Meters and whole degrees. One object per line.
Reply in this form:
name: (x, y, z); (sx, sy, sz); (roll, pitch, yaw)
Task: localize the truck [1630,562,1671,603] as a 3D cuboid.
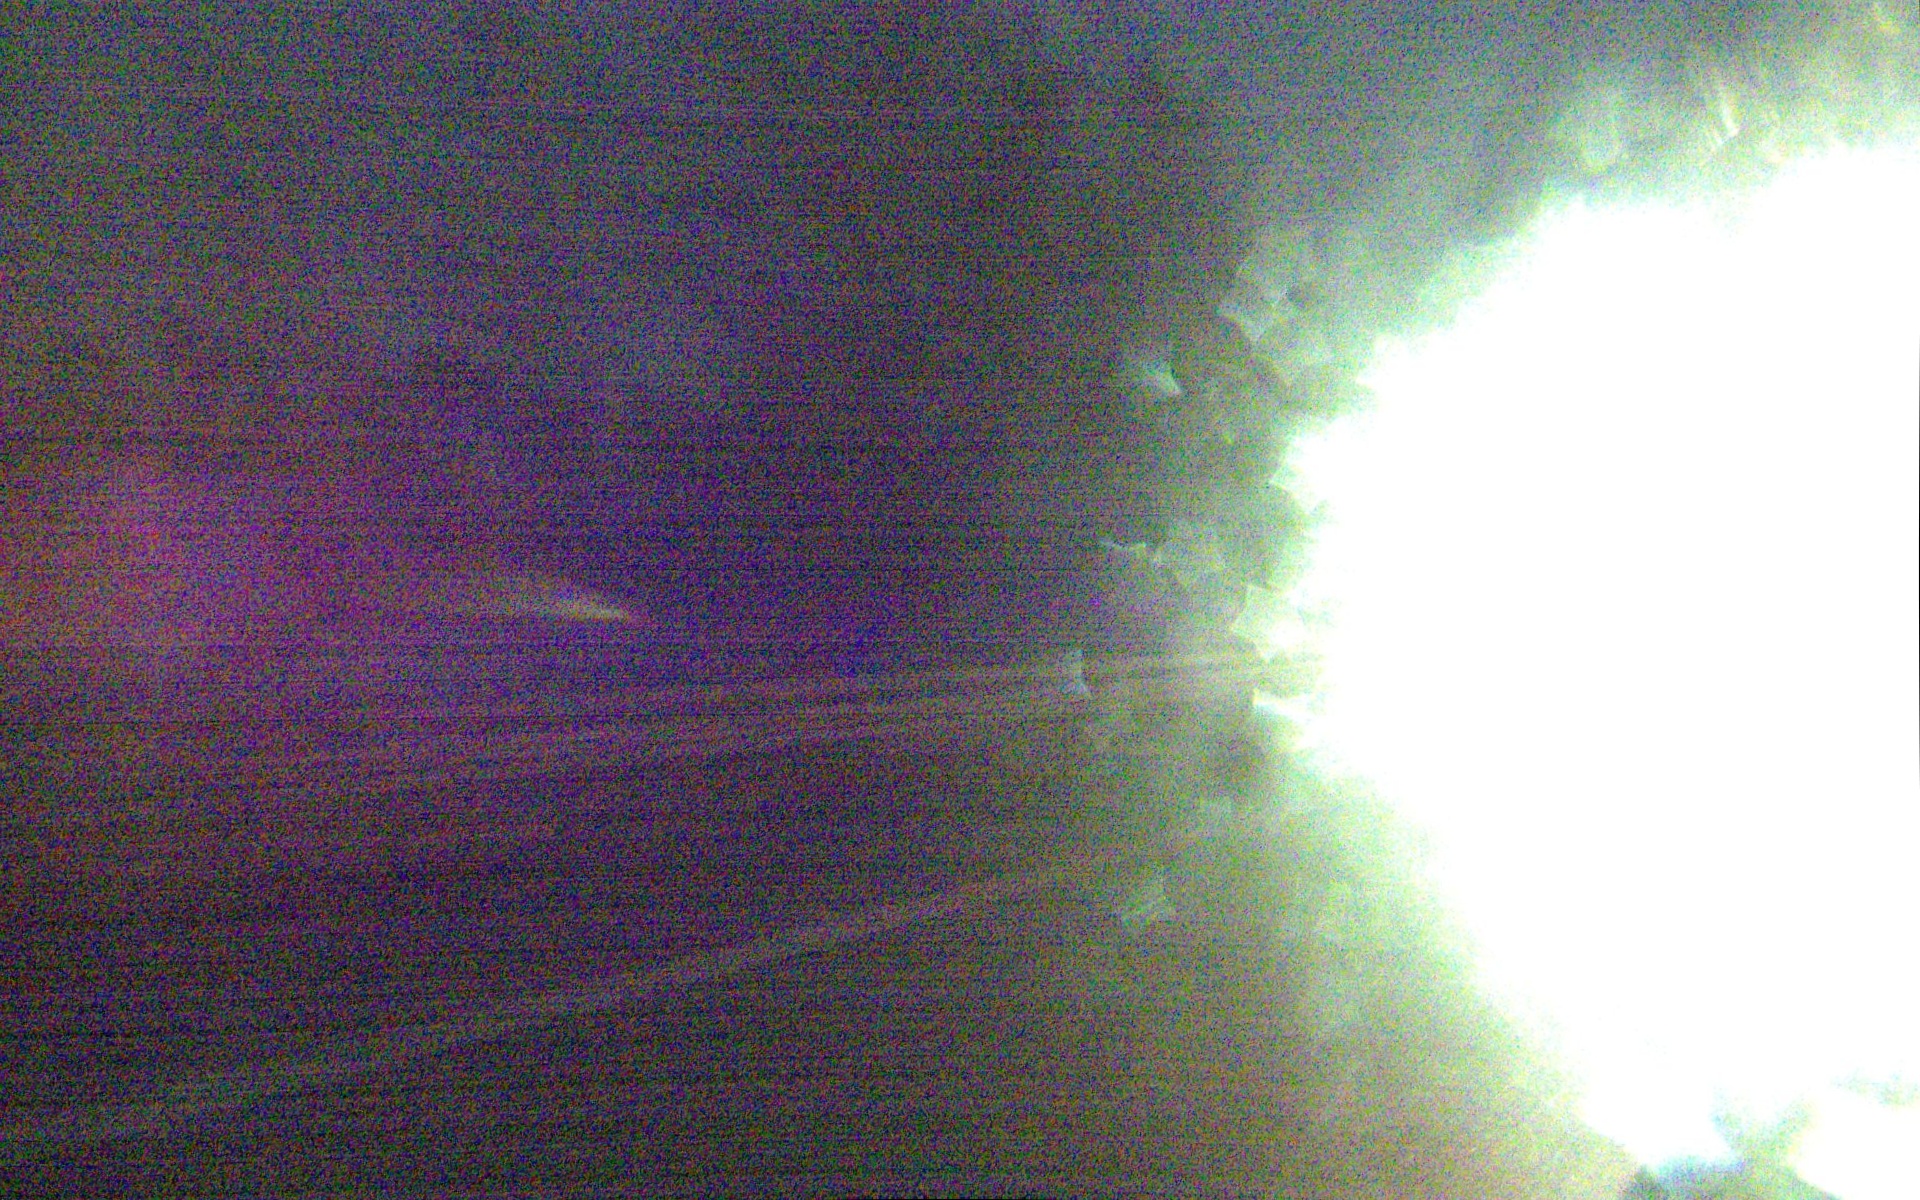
truck: (77.160, -1.919, 113.195); (2.510, 4.392, 5.523); (-1, 0, 22)

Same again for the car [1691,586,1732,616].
car: (45.064, 0.062, 60.763); (1.730, 1.705, 4.070); (-2, -1, 34)

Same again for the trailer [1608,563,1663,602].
trailer: (79.653, -1.944, 119.570); (2.510, 4.391, 13.610); (-1, 0, 21)

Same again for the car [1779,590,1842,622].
car: (36.907, 0.229, 43.986); (1.750, 1.328, 4.033); (0, 0, 35)

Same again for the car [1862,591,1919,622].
car: (47.374, 0.314, 50.912); (1.712, 1.500, 4.009); (-2, -1, 23)

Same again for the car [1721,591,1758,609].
car: (74.759, 0.044, 97.147); (1.769, 1.672, 4.021); (0, -1, 23)
